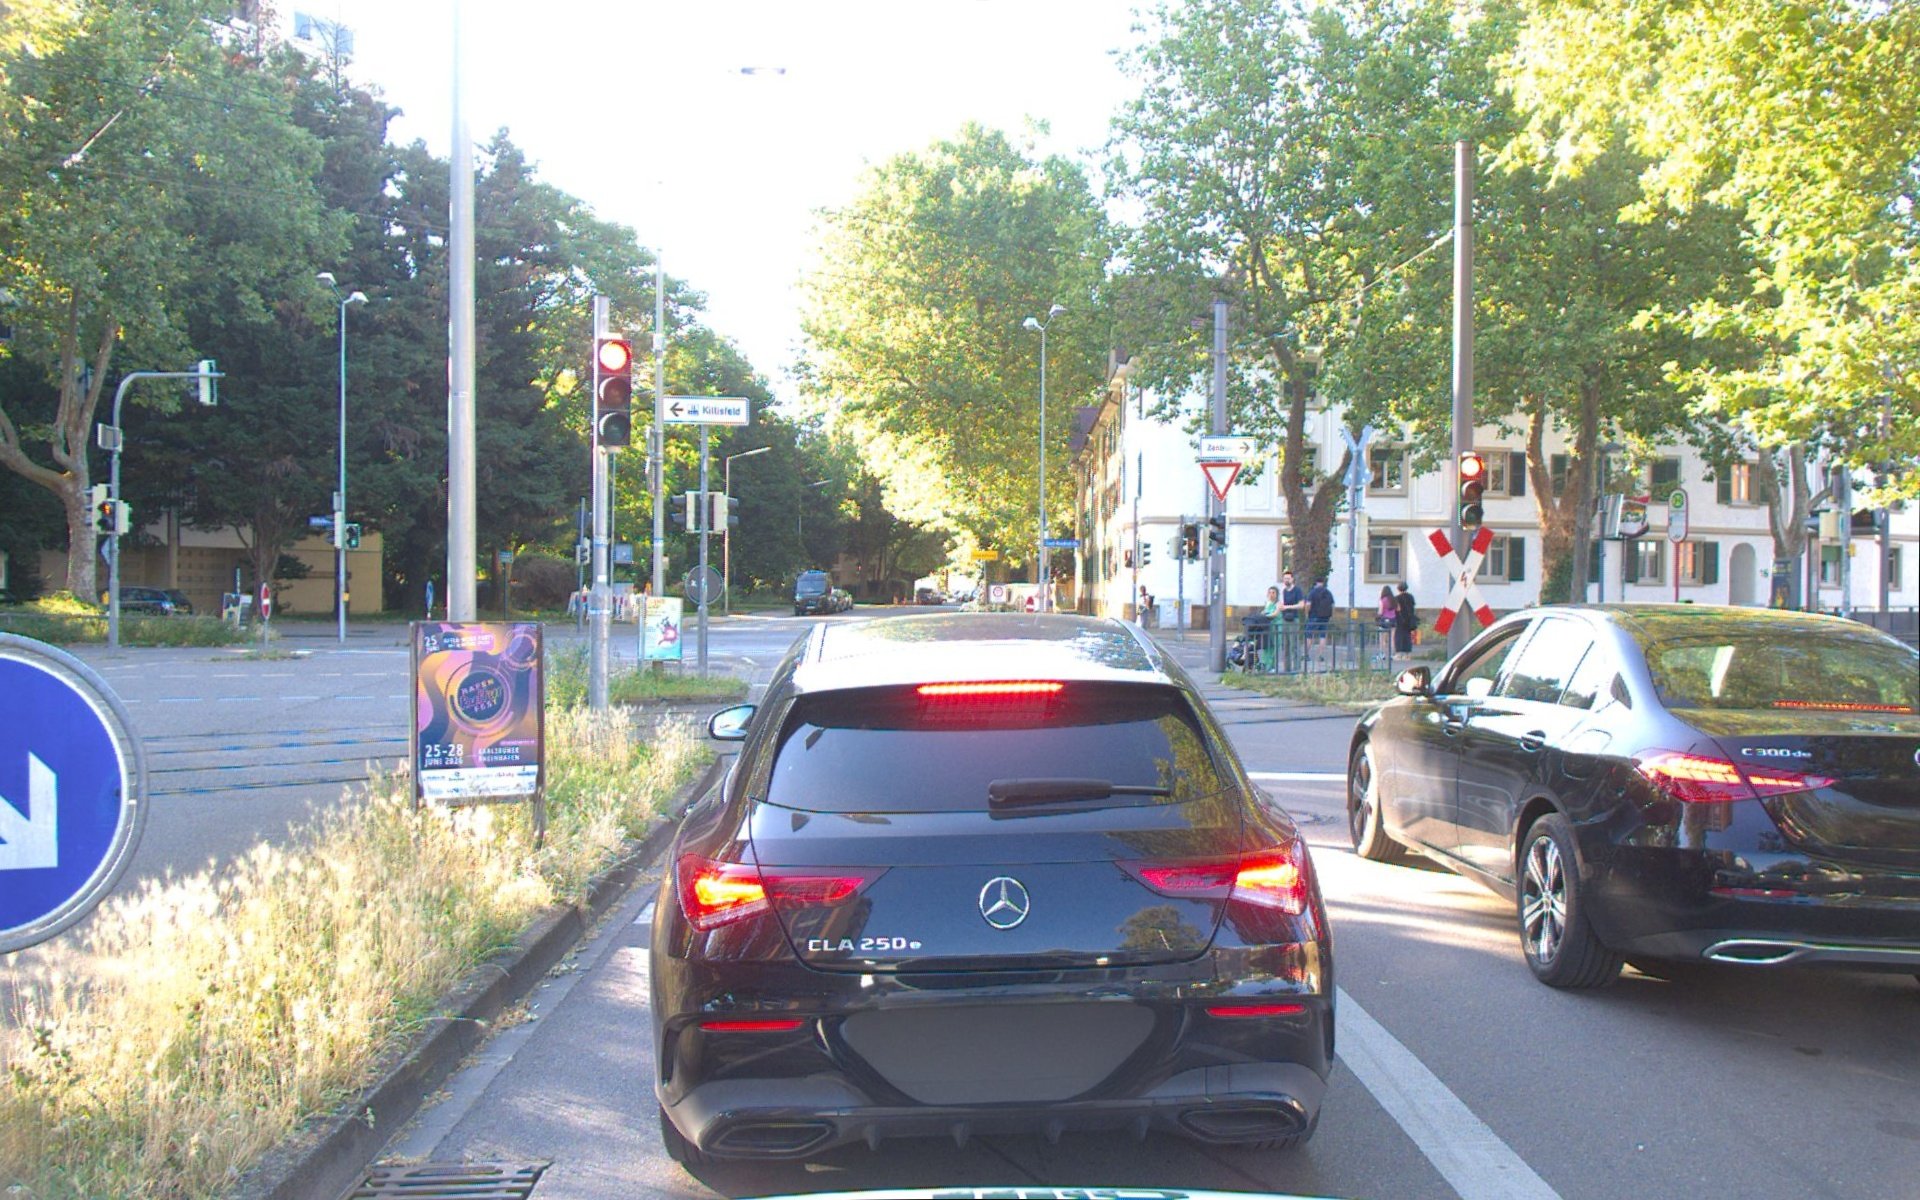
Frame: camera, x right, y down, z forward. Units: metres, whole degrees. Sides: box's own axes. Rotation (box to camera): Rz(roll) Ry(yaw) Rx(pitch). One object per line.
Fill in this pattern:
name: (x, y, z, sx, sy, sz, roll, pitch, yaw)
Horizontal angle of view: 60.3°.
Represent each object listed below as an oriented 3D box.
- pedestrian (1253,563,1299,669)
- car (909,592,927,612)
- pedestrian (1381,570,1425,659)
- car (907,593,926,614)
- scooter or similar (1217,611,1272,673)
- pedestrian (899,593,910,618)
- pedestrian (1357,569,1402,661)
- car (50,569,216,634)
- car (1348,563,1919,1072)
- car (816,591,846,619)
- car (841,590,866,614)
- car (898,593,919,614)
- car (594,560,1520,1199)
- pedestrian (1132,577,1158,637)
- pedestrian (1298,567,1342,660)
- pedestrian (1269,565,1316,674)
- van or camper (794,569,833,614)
pedestrian: (5.911, 0.306, 30.969, 0.669, 1.951, 0.706, 1, -1, -5)
car: (-4.000, 0.205, 158.395, 1.698, 1.796, 4.018, 1, 0, -1)
pedestrian: (9.858, 0.316, 36.808, 0.691, 1.951, 0.838, 1, -1, -4)
car: (-3.952, 0.316, 150.312, 1.698, 1.796, 4.018, 1, 0, -1)
scooter or similar: (5.254, 0.765, 30.580, 0.812, 1.124, 0.808, 1, 0, -6)
pedestrian: (-4.363, 0.453, 129.947, 0.692, 1.951, 0.837, 1, -1, -11)
pedestrian: (9.067, 0.329, 35.796, 0.691, 1.951, 0.838, 1, -1, -4)
car: (-24.378, 0.042, 48.843, 3.902, 1.805, 2.001, 1, 0, 7)
car: (3.110, 0.648, 7.381, 1.850, 1.516, 4.383, 1, 2, 2)
car: (-8.529, 0.319, 109.444, 1.698, 1.796, 4.340, 1, 0, -1)
car: (-8.131, 0.143, 126.270, 1.698, 1.796, 3.970, 1, 0, -1)
car: (-4.527, 0.348, 145.482, 1.698, 1.796, 4.018, 1, 0, -1)
car: (0.211, 0.656, 5.353, 1.851, 1.475, 4.001, 1, 2, 0)
pedestrian: (6.078, 0.239, 54.421, 0.691, 1.951, 0.838, 1, -1, -4)
pedestrian: (7.695, 0.285, 35.420, 0.691, 1.951, 0.838, 1, -1, -4)
pedestrian: (6.069, 0.359, 30.199, 0.669, 1.951, 0.707, 1, -1, -3)
van or camper: (-8.791, -0.486, 99.605, 1.953, 2.586, 4.650, 1, 0, -1)
